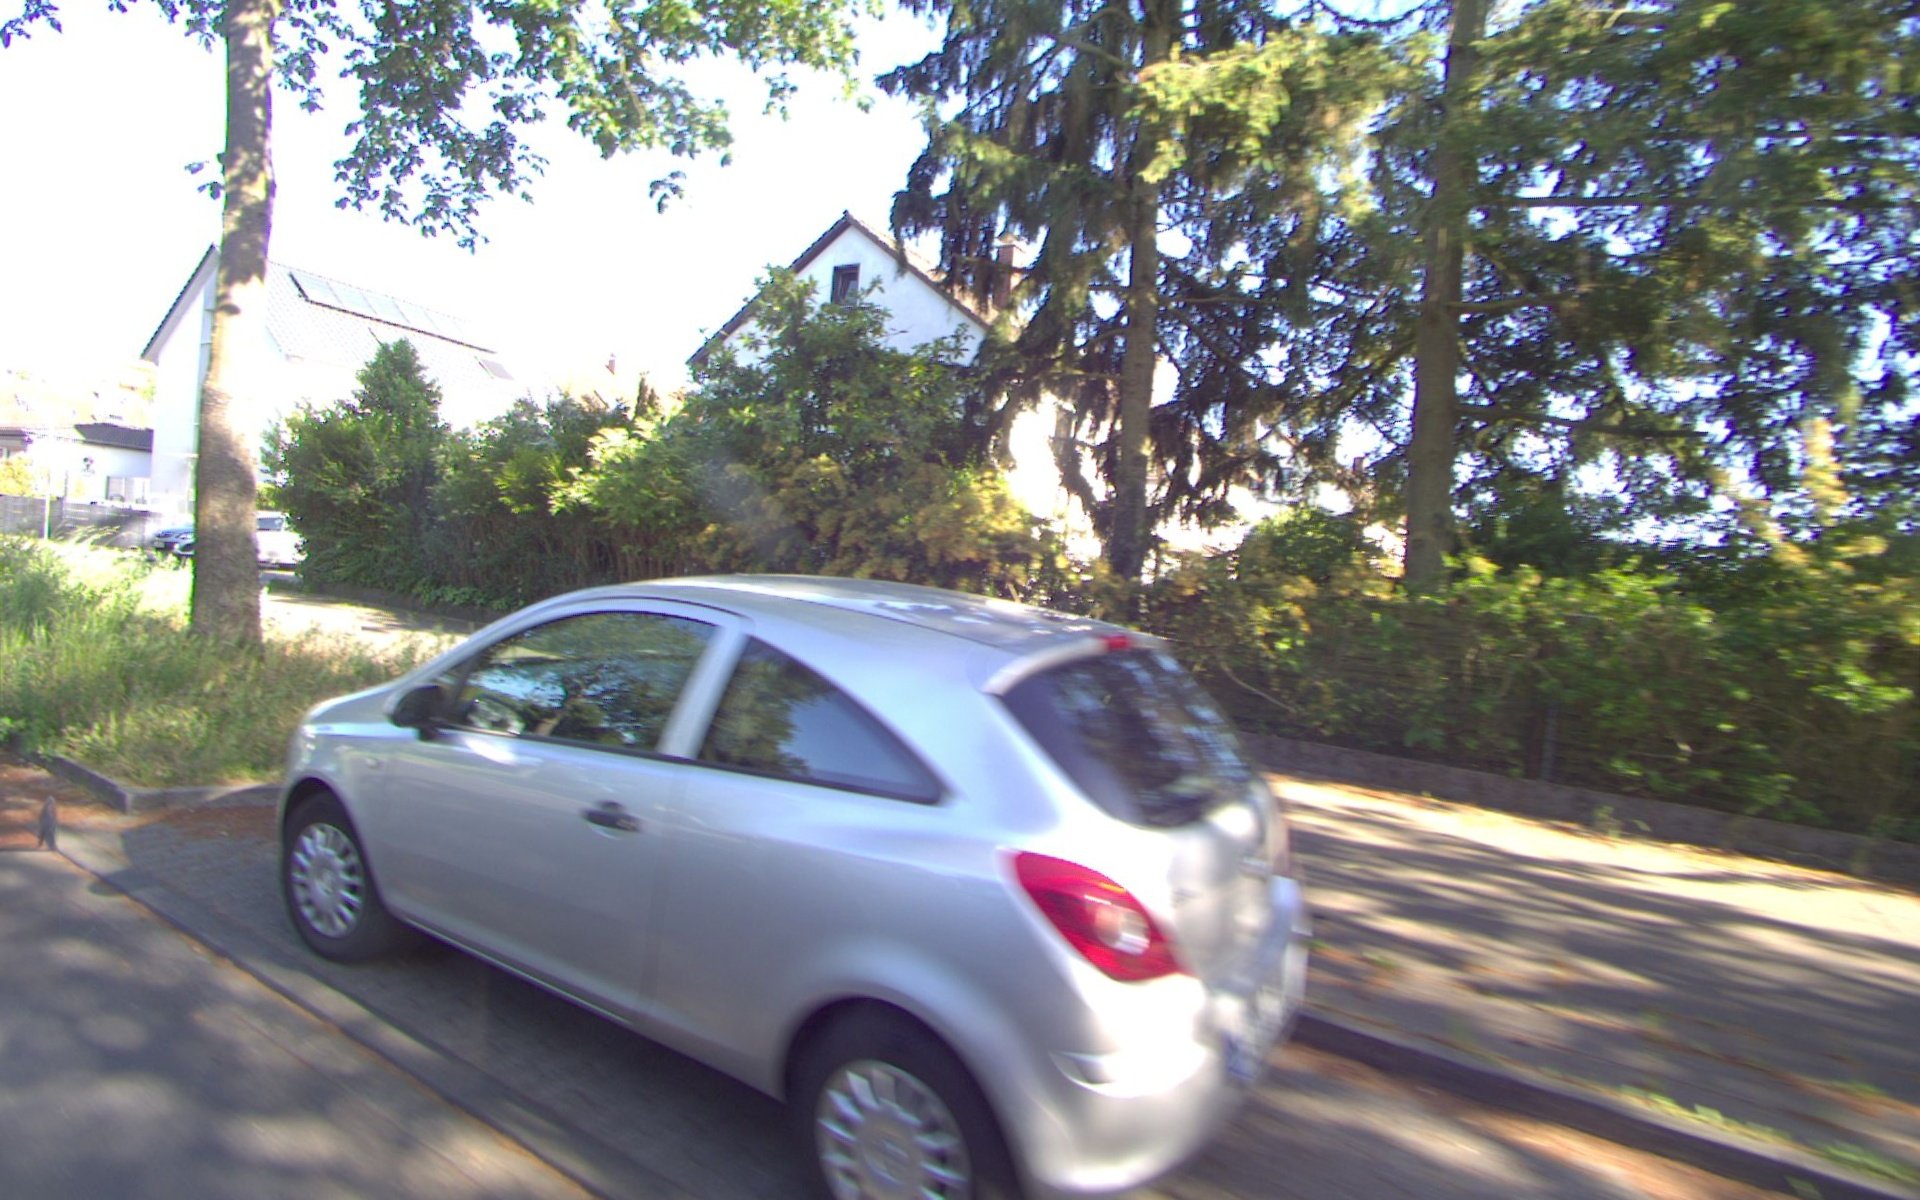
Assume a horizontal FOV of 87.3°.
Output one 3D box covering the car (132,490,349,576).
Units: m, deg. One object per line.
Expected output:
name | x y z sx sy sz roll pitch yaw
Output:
car | -17.801 -1.604 25.085 1.745 1.661 3.993 6 1 26

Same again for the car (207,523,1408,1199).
car | -0.830 0.636 3.549 3.942 1.530 1.990 5 2 39
